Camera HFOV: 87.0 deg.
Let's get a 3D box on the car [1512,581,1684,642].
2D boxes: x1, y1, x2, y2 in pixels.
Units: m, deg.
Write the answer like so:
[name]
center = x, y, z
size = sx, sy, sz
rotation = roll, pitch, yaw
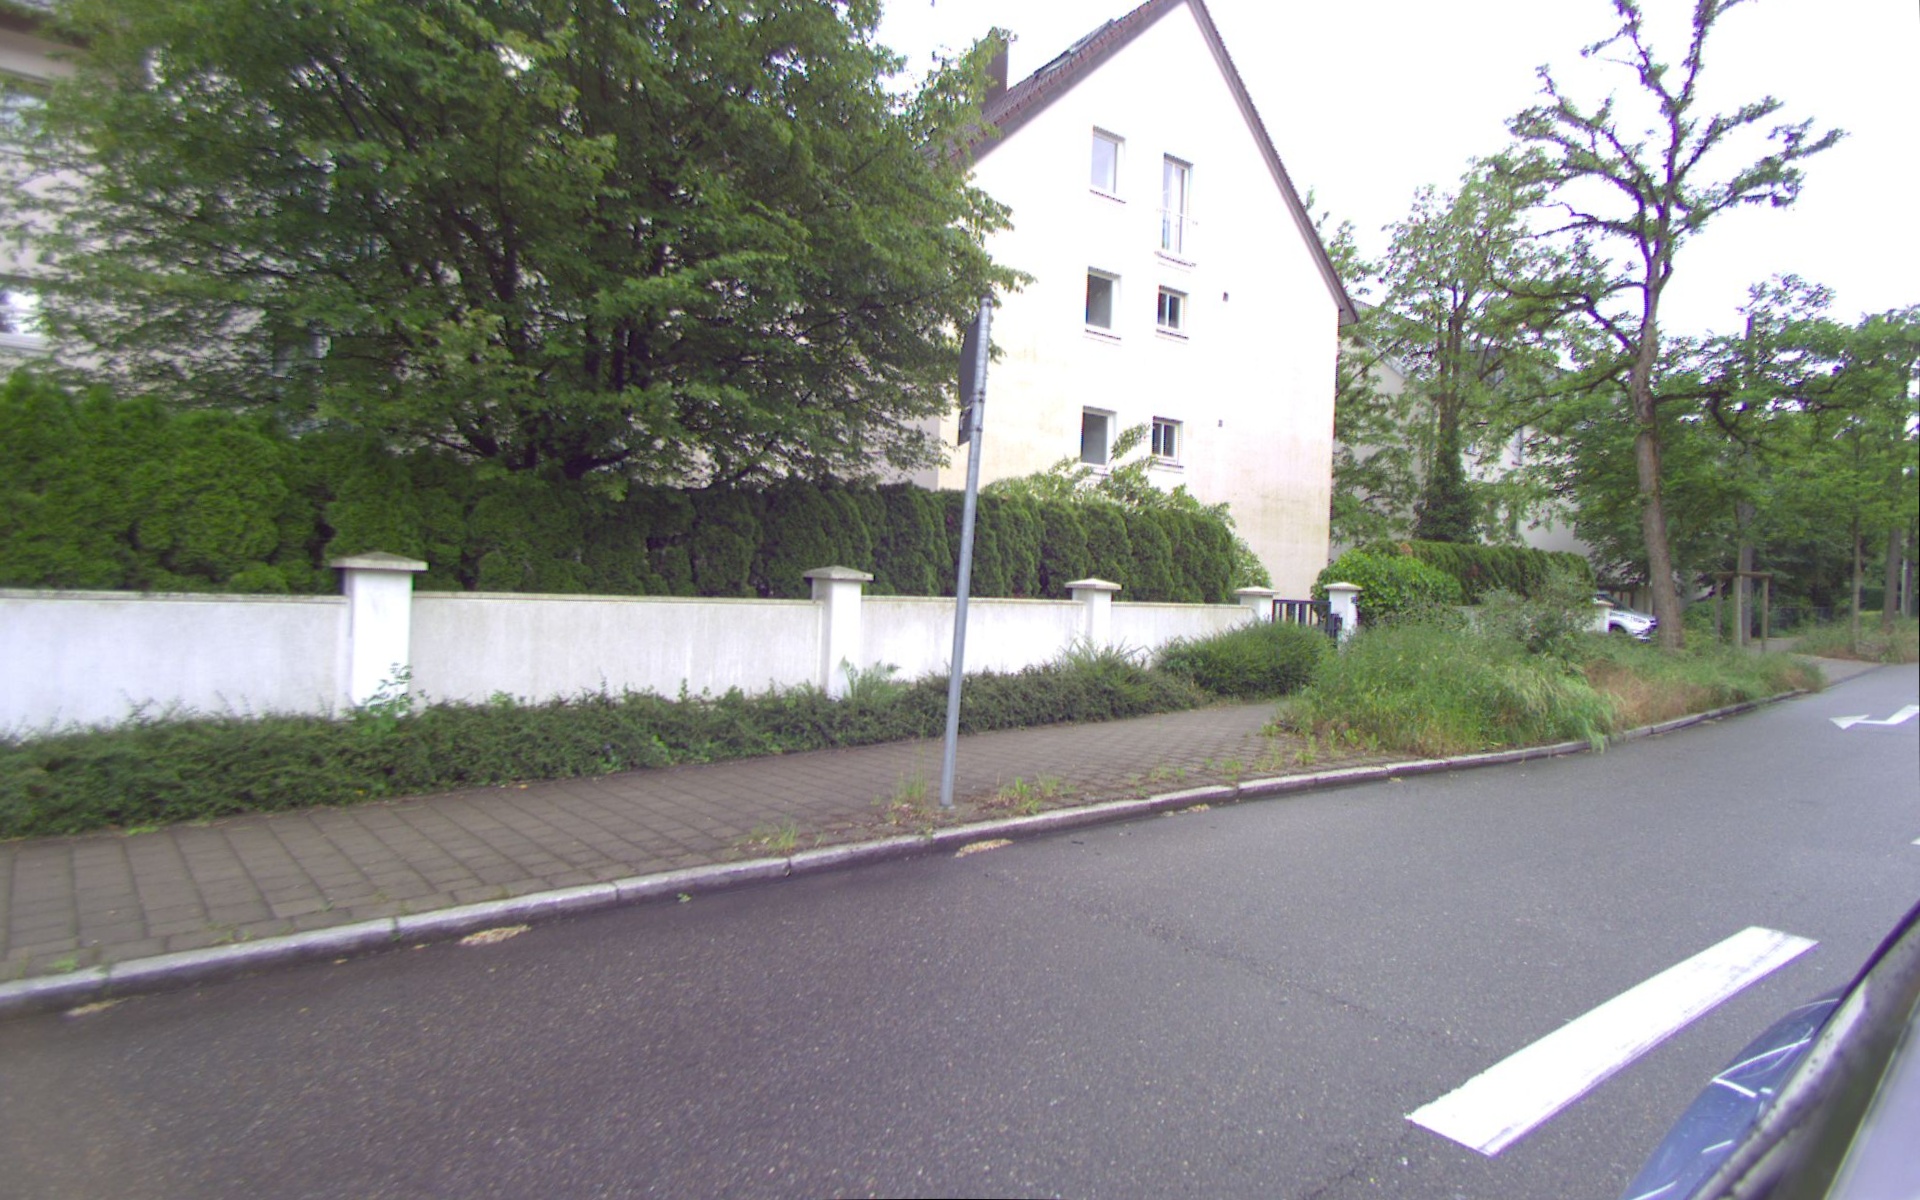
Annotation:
[car]
center = 20.399, 0.313, 32.530
size = 1.837, 1.840, 4.322
rotation = 1, 1, -31
